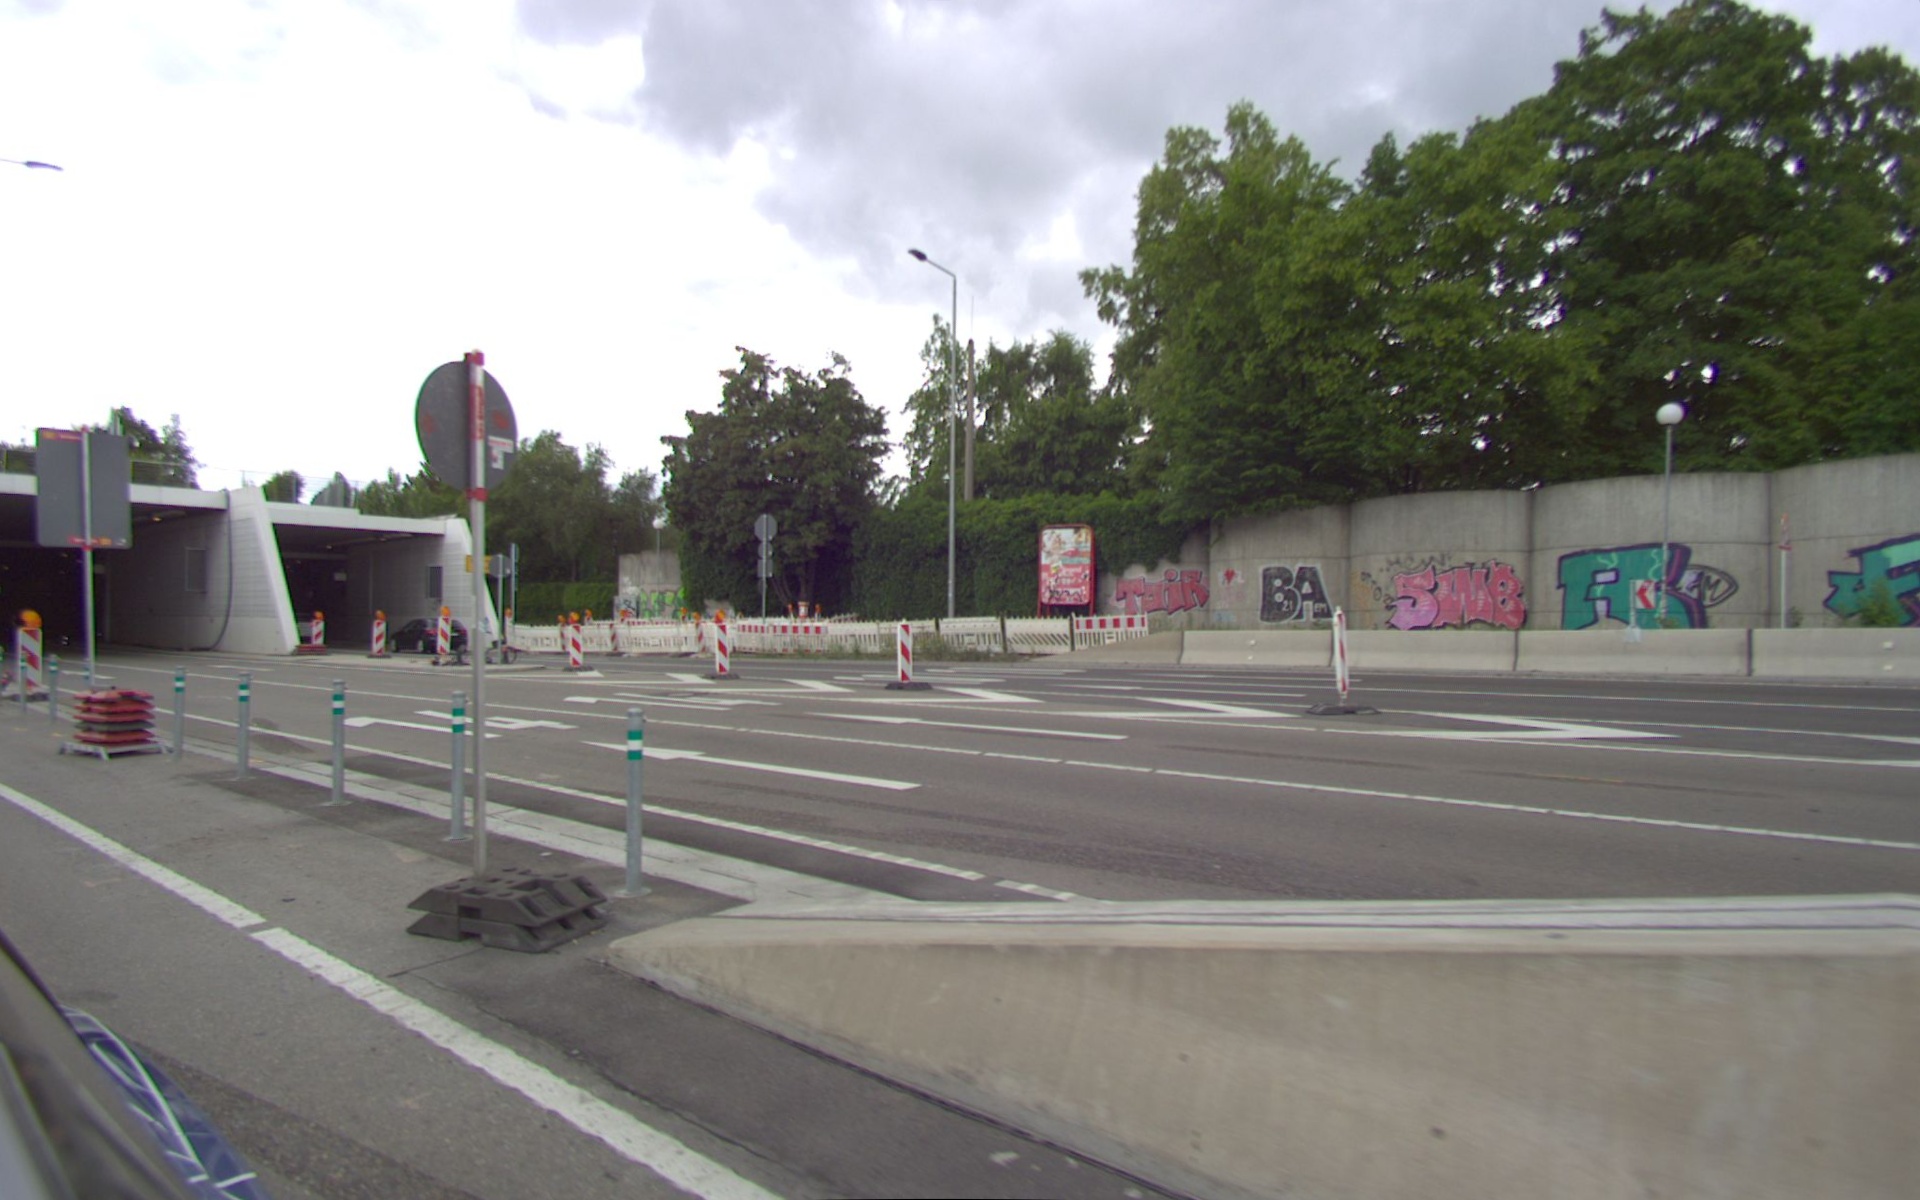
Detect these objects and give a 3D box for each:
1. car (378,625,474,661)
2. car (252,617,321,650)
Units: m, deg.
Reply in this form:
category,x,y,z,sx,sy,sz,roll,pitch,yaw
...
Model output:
category,x,y,z,sx,sy,sz,roll,pitch,yaw
car,-21.628,1.696,40.927,4.188,1.360,1.846,-1,-1,37
car,-35.455,1.726,53.247,4.371,1.674,1.829,-1,-1,40
